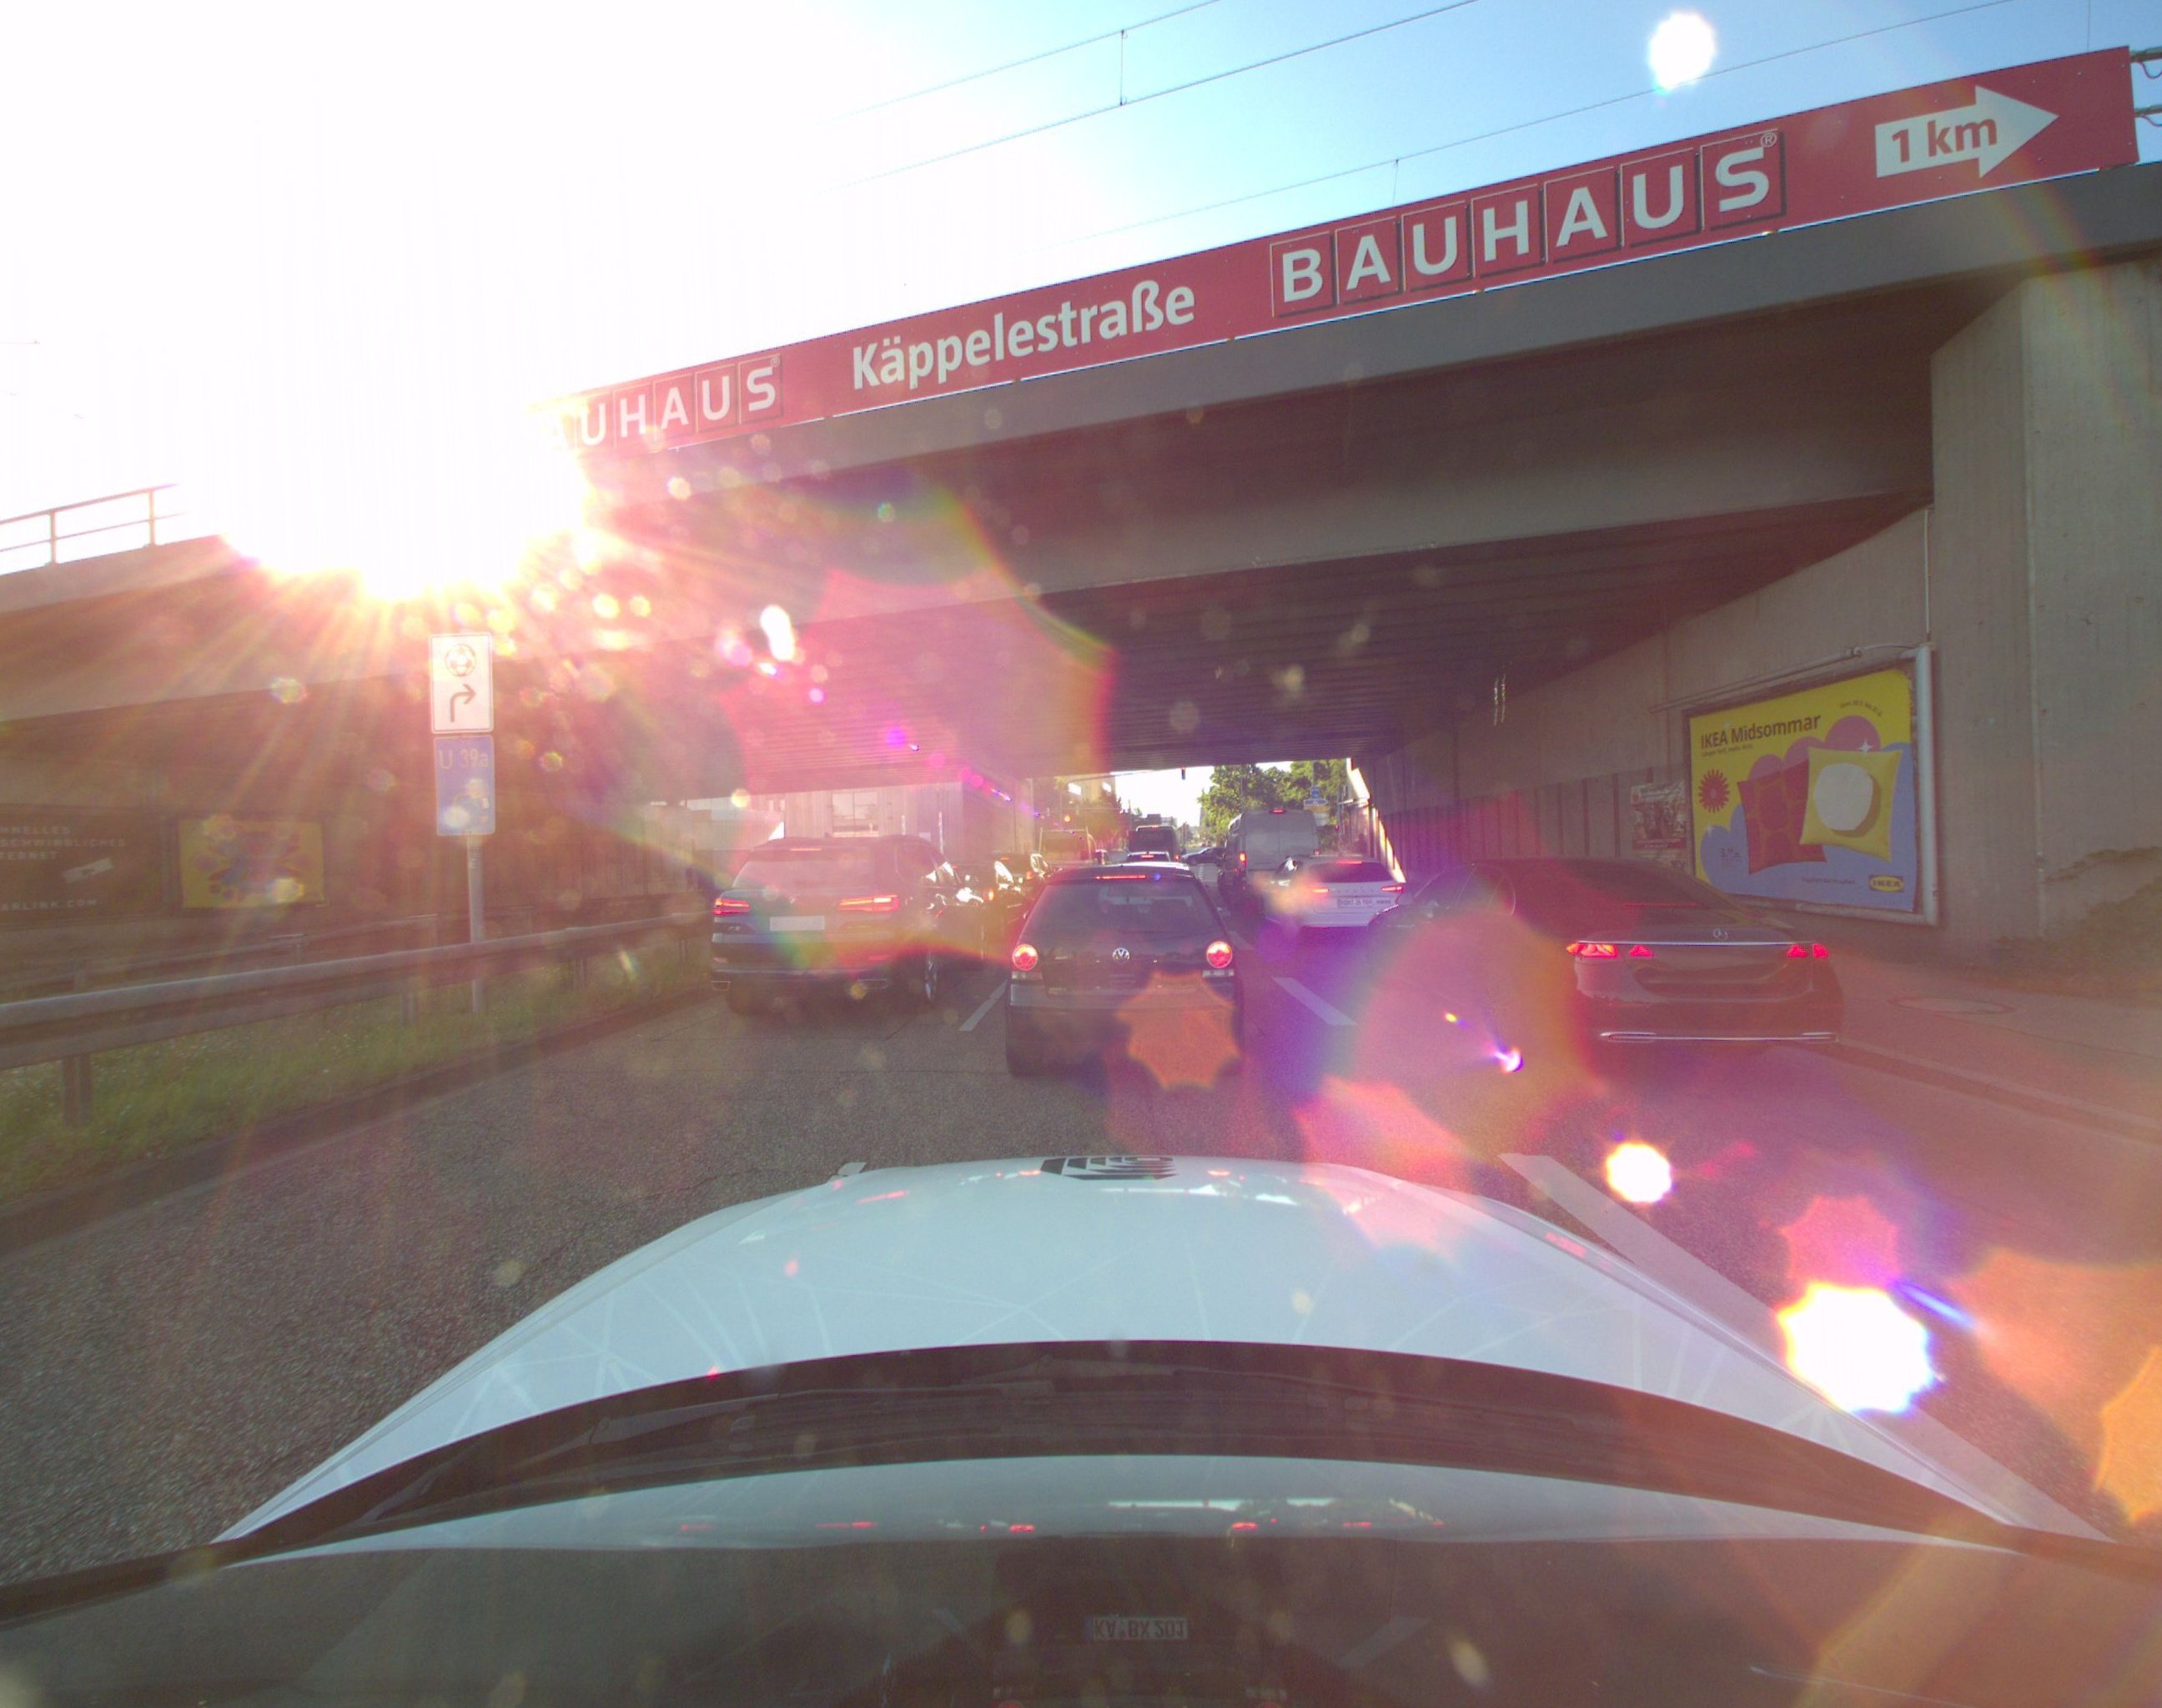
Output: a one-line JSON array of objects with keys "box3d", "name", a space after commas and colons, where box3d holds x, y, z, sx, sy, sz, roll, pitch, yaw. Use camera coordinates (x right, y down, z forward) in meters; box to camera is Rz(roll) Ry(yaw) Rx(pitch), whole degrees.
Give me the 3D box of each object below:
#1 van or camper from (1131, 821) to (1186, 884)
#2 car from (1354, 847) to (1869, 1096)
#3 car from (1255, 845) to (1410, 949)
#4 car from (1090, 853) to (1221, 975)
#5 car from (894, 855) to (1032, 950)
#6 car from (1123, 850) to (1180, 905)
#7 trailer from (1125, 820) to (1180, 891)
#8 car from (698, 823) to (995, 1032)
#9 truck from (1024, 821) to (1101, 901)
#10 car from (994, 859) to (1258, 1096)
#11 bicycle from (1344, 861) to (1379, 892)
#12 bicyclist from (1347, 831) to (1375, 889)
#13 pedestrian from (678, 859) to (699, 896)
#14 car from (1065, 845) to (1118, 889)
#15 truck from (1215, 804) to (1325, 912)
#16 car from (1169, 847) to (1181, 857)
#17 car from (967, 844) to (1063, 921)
[{"box3d": [3.609, -0.037, 36.762, 1.981, 2.570, 5.933, -2, -1, 9], "name": "van or camper"}, {"box3d": [3.960, 0.691, 7.212, 1.733, 1.454, 4.609, -1, 1, 3], "name": "car"}, {"box3d": [4.230, 0.689, 14.297, 1.764, 1.495, 3.837, -3, -1, 5], "name": "car"}, {"box3d": [1.068, 0.762, 12.034, 1.540, 1.423, 3.421, -5, 0, 4], "name": "car"}, {"box3d": [-2.093, 0.841, 15.494, 1.834, 1.440, 3.677, -5, -1, 2], "name": "car"}, {"box3d": [2.196, 0.707, 25.054, 1.574, 1.532, 3.837, -1, -1, 5], "name": "car"}, {"box3d": [2.797, 0.097, 31.277, 1.854, 2.465, 3.839, -3, -1, 7], "name": "trailer"}, {"box3d": [-2.265, 0.671, 9.241, 1.822, 1.738, 4.465, -2, -1, 3], "name": "car"}, {"box3d": [-0.543, 0.276, 29.483, 2.018, 2.557, 5.546, -2, -1, 6], "name": "truck"}, {"box3d": [0.319, 0.785, 6.876, 1.576, 1.409, 3.832, -1, -1, 1], "name": "car"}, {"box3d": [9.363, 0.745, 27.255, 0.575, 0.963, 2.893, -2, -1, 9], "name": "bicycle"}, {"box3d": [9.353, 0.206, 27.225, 0.678, 1.907, 0.835, -2, -1, 8], "name": "bicyclist"}, {"box3d": [-20.639, 1.222, 42.845, 0.690, 1.903, 0.666, -2, -1, 7], "name": "pedestrian"}, {"box3d": [0.563, 0.617, 38.689, 1.983, 1.901, 4.008, -2, -1, 7], "name": "car"}, {"box3d": [4.989, 0.129, 22.153, 2.102, 2.519, 4.405, -3, -1, 4], "name": "truck"}, {"box3d": [13.842, -0.231, 119.865, 1.334, 1.281, 2.894, -5, -1, 1], "name": "car"}, {"box3d": [-1.656, 0.711, 21.771, 1.833, 1.719, 4.004, -5, -1, 4], "name": "car"}]
